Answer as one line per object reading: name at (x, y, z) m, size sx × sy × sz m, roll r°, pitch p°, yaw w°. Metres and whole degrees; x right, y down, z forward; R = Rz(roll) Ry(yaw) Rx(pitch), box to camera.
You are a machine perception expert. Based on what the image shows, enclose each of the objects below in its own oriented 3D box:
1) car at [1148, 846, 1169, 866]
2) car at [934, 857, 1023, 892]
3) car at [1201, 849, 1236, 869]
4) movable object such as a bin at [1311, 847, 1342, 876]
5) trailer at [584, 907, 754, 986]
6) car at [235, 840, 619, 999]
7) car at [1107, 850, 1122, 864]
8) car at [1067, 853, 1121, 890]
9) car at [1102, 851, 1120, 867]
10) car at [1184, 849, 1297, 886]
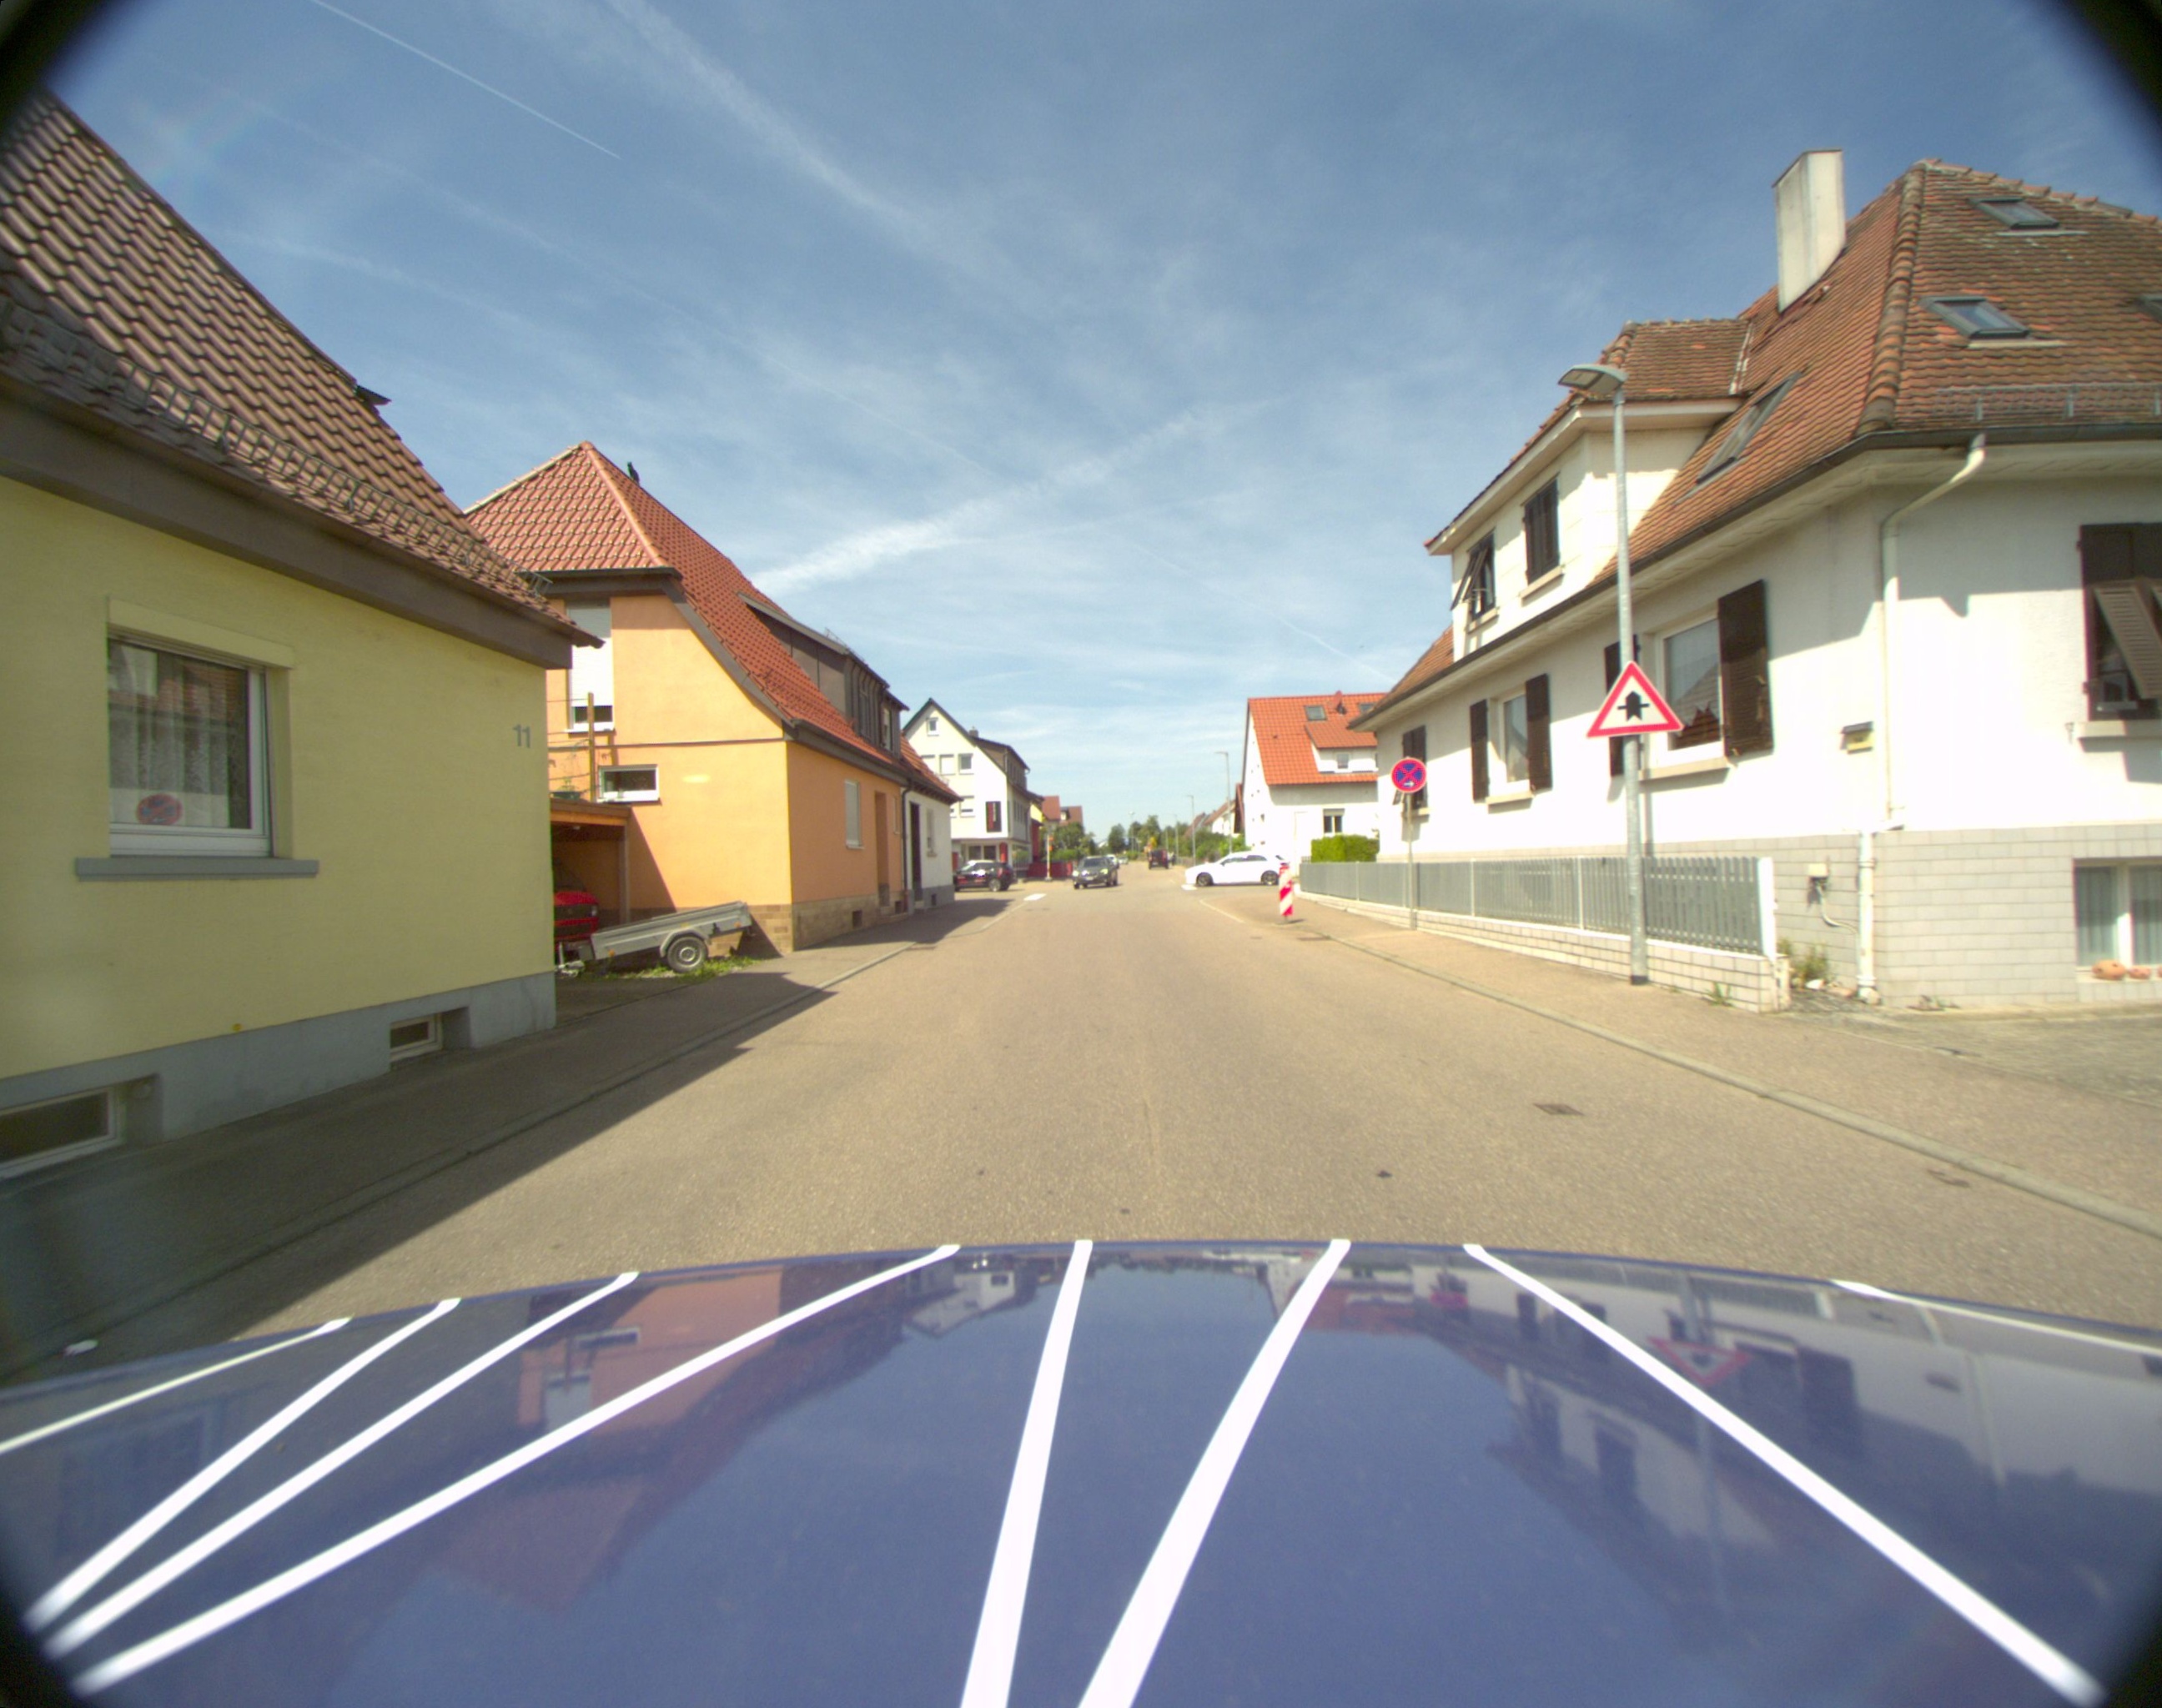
car at (7.975, 0.183, 78.212) m, size 1.972 × 1.940 × 4.697 m, roll -2°, pitch 0°, yaw 5°
car at (-5.454, 1.083, 40.703) m, size 4.301 × 1.643 × 1.849 m, roll -3°, pitch 0°, yaw 10°
car at (10.811, 0.364, 59.538) m, size 1.829 × 1.423 × 4.569 m, roll -2°, pitch 0°, yaw 21°
movable object such as a bin at (11.541, 0.344, 35.736) m, size 1.265 × 1.306 × 1.167 m, roll -3°, pitch 1°, yaw 13°
trailer at (-6.262, 1.360, 11.659) m, size 2.145 × 0.894 × 1.240 m, roll -3°, pitch 0°, yaw -29°
car at (-9.786, 0.925, 11.629) m, size 4.221 × 2.059 × 1.836 m, roll -3°, pitch 1°, yaw 1°
car at (4.389, 0.343, 99.282) m, size 1.669 × 1.739 × 4.057 m, roll -3°, pitch 0°, yaw 5°
car at (0.737, 0.814, 37.950) m, size 1.836 × 1.637 × 4.327 m, roll -3°, pitch 0°, yaw 12°
car at (3.465, 0.583, 87.369) m, size 1.740 × 1.652 × 4.338 m, roll -4°, pitch 0°, yaw 5°
car at (6.897, 0.582, 32.707) m, size 4.485 × 1.390 × 1.932 m, roll -2°, pitch 0°, yaw 19°
